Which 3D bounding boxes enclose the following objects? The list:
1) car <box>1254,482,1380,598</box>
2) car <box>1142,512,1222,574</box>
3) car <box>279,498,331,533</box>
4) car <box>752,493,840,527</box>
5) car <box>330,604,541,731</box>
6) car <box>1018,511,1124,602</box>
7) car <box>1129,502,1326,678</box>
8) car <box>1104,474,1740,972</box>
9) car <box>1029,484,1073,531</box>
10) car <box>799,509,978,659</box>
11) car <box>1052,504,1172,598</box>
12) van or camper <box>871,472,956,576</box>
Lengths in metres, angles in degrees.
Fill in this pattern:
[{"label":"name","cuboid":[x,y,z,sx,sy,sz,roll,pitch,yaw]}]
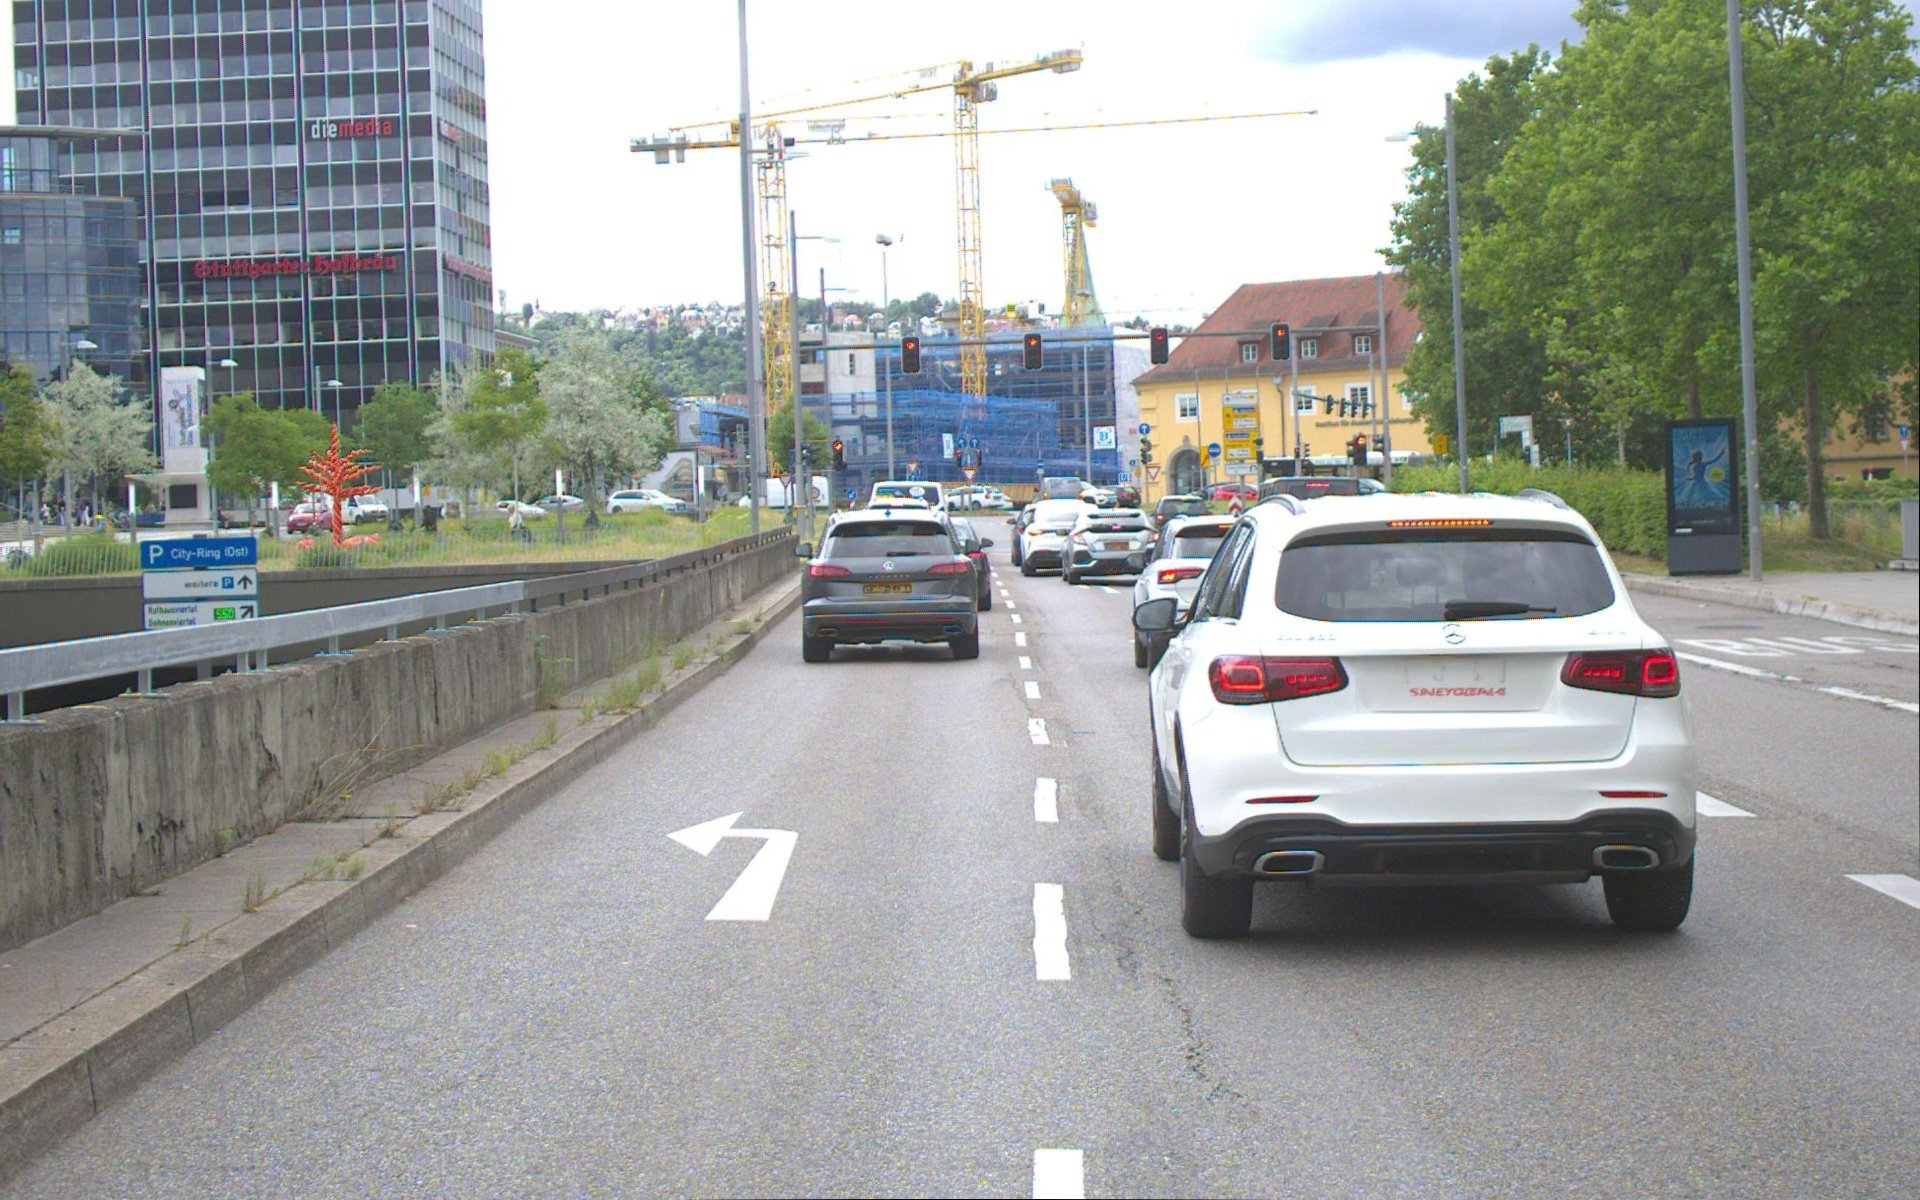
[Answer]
[{"label":"car","cuboid":[6.395,-1.082,61.928,1.788,2.007,4.000,-1,1,0]},{"label":"car","cuboid":[5.814,-1.485,90.368,1.719,1.579,4.000,1,1,-2]},{"label":"car","cuboid":[-31.952,-4.097,167.808,1.867,1.612,3.481,1,0,0]},{"label":"car","cuboid":[-10.260,-5.633,215.353,5.280,2.053,1.870,1,0,29]},{"label":"car","cuboid":[-5.912,0.728,39.147,1.719,1.288,4.000,1,1,1]},{"label":"car","cuboid":[2.237,-0.868,70.133,1.993,1.774,4.000,1,0,0]},{"label":"car","cuboid":[2.587,-0.114,34.015,1.672,1.622,4.000,1,0,1]},{"label":"car","cuboid":[1.663,0.413,13.740,1.940,1.678,4.000,-1,0,-1]},{"label":"car","cuboid":[4.105,-4.189,155.732,1.800,2.007,4.000,1,0,0]},{"label":"car","cuboid":[-0.788,-0.214,39.137,1.922,1.596,4.000,-1,1,0]},{"label":"car","cuboid":[2.761,-0.880,63.285,1.993,1.656,4.000,1,0,0]},{"label":"van or camper","cuboid":[-1.103,-1.809,82.966,1.922,2.312,4.000,2,-1,0]}]
